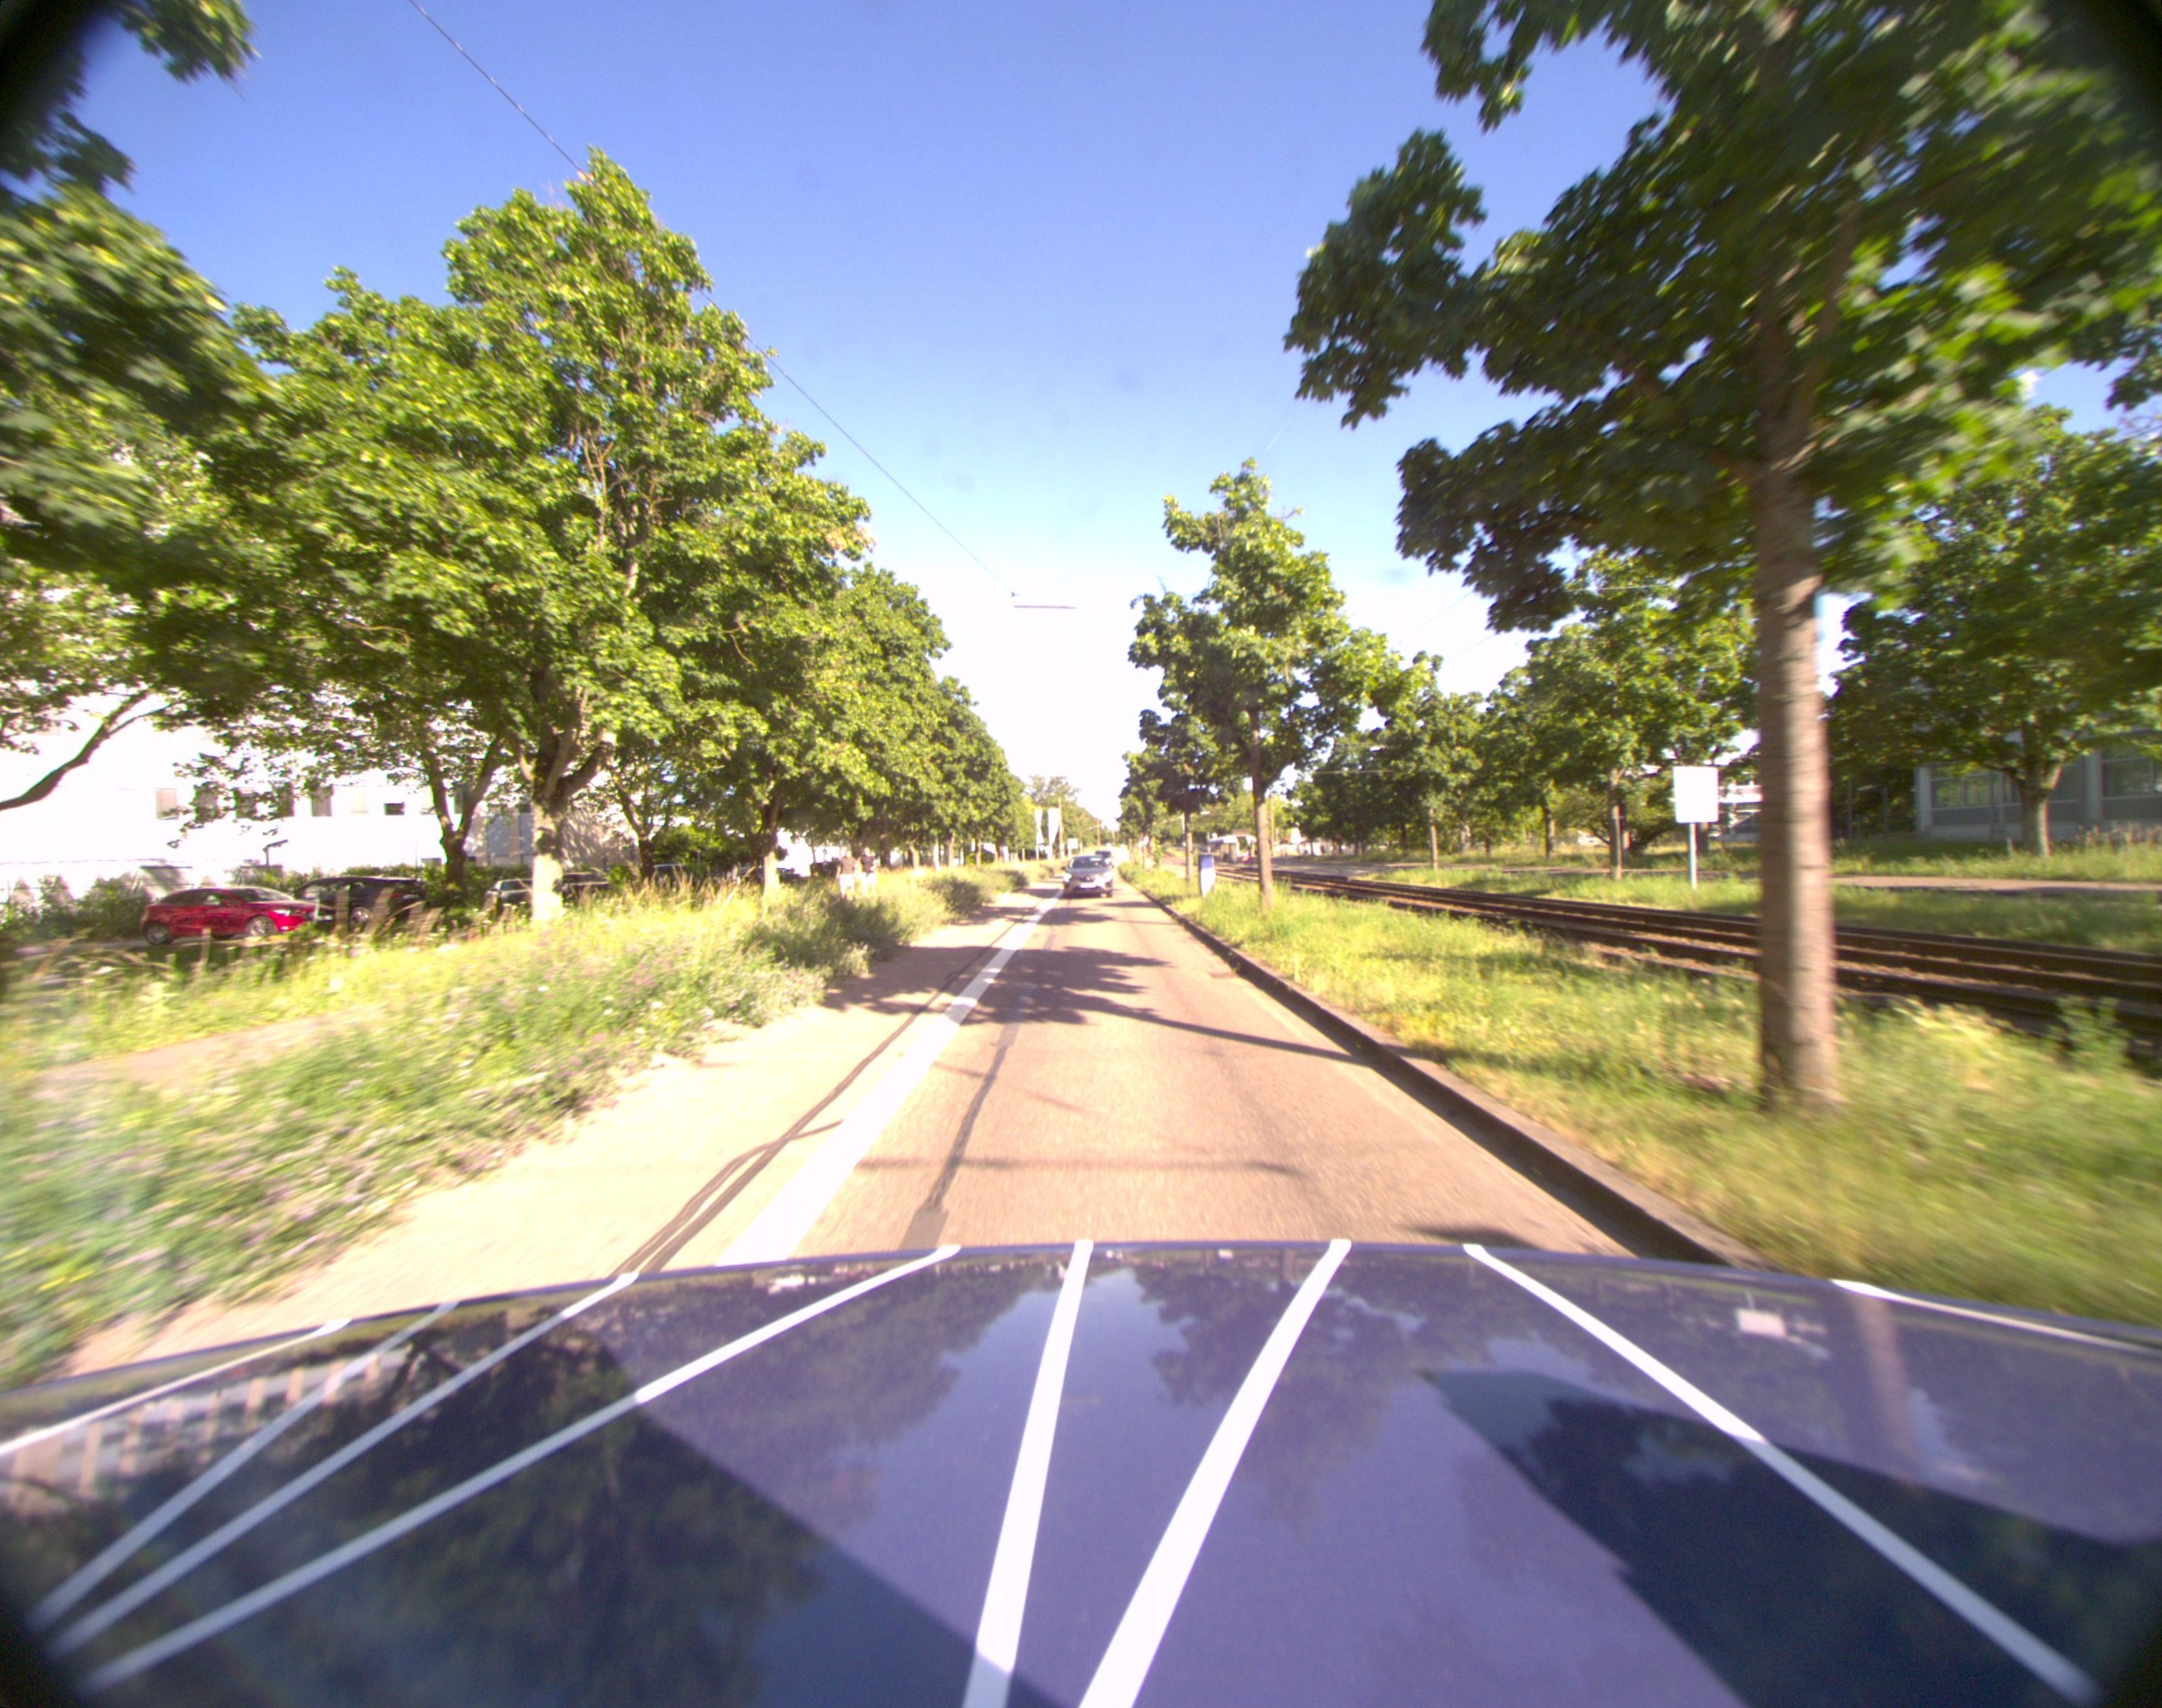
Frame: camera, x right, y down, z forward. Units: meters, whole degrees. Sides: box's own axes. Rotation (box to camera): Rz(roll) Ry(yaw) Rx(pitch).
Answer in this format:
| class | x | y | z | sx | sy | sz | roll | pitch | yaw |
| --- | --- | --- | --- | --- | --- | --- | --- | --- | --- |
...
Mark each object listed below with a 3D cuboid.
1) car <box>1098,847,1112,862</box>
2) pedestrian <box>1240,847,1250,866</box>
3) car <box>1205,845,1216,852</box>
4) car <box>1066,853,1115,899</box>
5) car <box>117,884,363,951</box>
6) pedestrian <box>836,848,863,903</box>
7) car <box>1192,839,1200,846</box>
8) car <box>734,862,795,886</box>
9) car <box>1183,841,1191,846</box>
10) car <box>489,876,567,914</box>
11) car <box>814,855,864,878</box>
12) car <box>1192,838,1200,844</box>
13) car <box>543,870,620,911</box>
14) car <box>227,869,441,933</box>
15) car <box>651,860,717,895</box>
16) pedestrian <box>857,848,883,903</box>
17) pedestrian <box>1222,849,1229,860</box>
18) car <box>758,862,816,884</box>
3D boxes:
| class | x | y | z | sx | sy | sz | roll | pitch | yaw |
| --- | --- | --- | --- | --- | --- | --- | --- | --- | --- |
| car | 2.812 | 0.075 | 89.603 | 1.555 | 1.765 | 3.456 | -1 | 0 | 0 |
| pedestrian | 15.358 | 0.216 | 71.133 | 0.786 | 1.741 | 0.781 | -2 | 1 | 1 |
| car | 28.124 | -1.185 | 164.730 | 1.771 | 1.575 | 3.456 | -1 | 0 | 0 |
| car | 0.370 | 0.787 | 29.428 | 1.750 | 1.585 | 4.246 | -1 | 1 | 0 |
| car | -22.560 | 1.659 | 20.555 | 4.244 | 1.527 | 1.765 | -1 | 0 | -9 |
| pedestrian | -8.208 | 0.753 | 26.951 | 0.710 | 1.919 | 0.816 | -3 | 1 | -7 |
| car | 28.992 | -2.885 | 191.533 | 1.701 | 1.575 | 3.456 | -1 | 0 | 0 |
| car | -22.257 | 1.404 | 53.368 | 4.537 | 1.506 | 1.851 | -2 | 1 | 37 |
| car | 31.239 | -3.030 | 223.987 | 1.701 | 1.575 | 3.456 | -1 | 0 | 0 |
| car | -21.930 | 1.590 | 30.090 | 3.976 | 1.333 | 1.712 | -2 | 1 | 43 |
| car | -21.474 | 1.128 | 67.332 | 2.084 | 1.865 | 5.172 | -3 | 1 | -43 |
| car | 30.772 | -3.441 | 202.970 | 1.701 | 1.575 | 3.456 | -1 | 0 | 0 |
| car | -22.081 | 1.590 | 33.564 | 3.976 | 1.629 | 1.727 | -2 | 1 | 40 |
| car | -22.328 | 1.366 | 22.886 | 4.349 | 1.690 | 1.765 | -1 | 0 | -9 |
| car | -22.087 | 1.299 | 42.132 | 1.923 | 1.741 | 5.442 | -3 | 1 | -42 |
| pedestrian | -7.452 | 0.749 | 26.836 | 0.711 | 1.907 | 0.815 | -3 | 1 | -21 |
| pedestrian | 16.321 | 0.034 | 85.694 | 0.650 | 1.242 | 0.681 | 0 | 0 | -7 |
| car | -21.954 | 1.412 | 56.627 | 4.537 | 1.440 | 1.851 | -2 | 1 | 37 |
